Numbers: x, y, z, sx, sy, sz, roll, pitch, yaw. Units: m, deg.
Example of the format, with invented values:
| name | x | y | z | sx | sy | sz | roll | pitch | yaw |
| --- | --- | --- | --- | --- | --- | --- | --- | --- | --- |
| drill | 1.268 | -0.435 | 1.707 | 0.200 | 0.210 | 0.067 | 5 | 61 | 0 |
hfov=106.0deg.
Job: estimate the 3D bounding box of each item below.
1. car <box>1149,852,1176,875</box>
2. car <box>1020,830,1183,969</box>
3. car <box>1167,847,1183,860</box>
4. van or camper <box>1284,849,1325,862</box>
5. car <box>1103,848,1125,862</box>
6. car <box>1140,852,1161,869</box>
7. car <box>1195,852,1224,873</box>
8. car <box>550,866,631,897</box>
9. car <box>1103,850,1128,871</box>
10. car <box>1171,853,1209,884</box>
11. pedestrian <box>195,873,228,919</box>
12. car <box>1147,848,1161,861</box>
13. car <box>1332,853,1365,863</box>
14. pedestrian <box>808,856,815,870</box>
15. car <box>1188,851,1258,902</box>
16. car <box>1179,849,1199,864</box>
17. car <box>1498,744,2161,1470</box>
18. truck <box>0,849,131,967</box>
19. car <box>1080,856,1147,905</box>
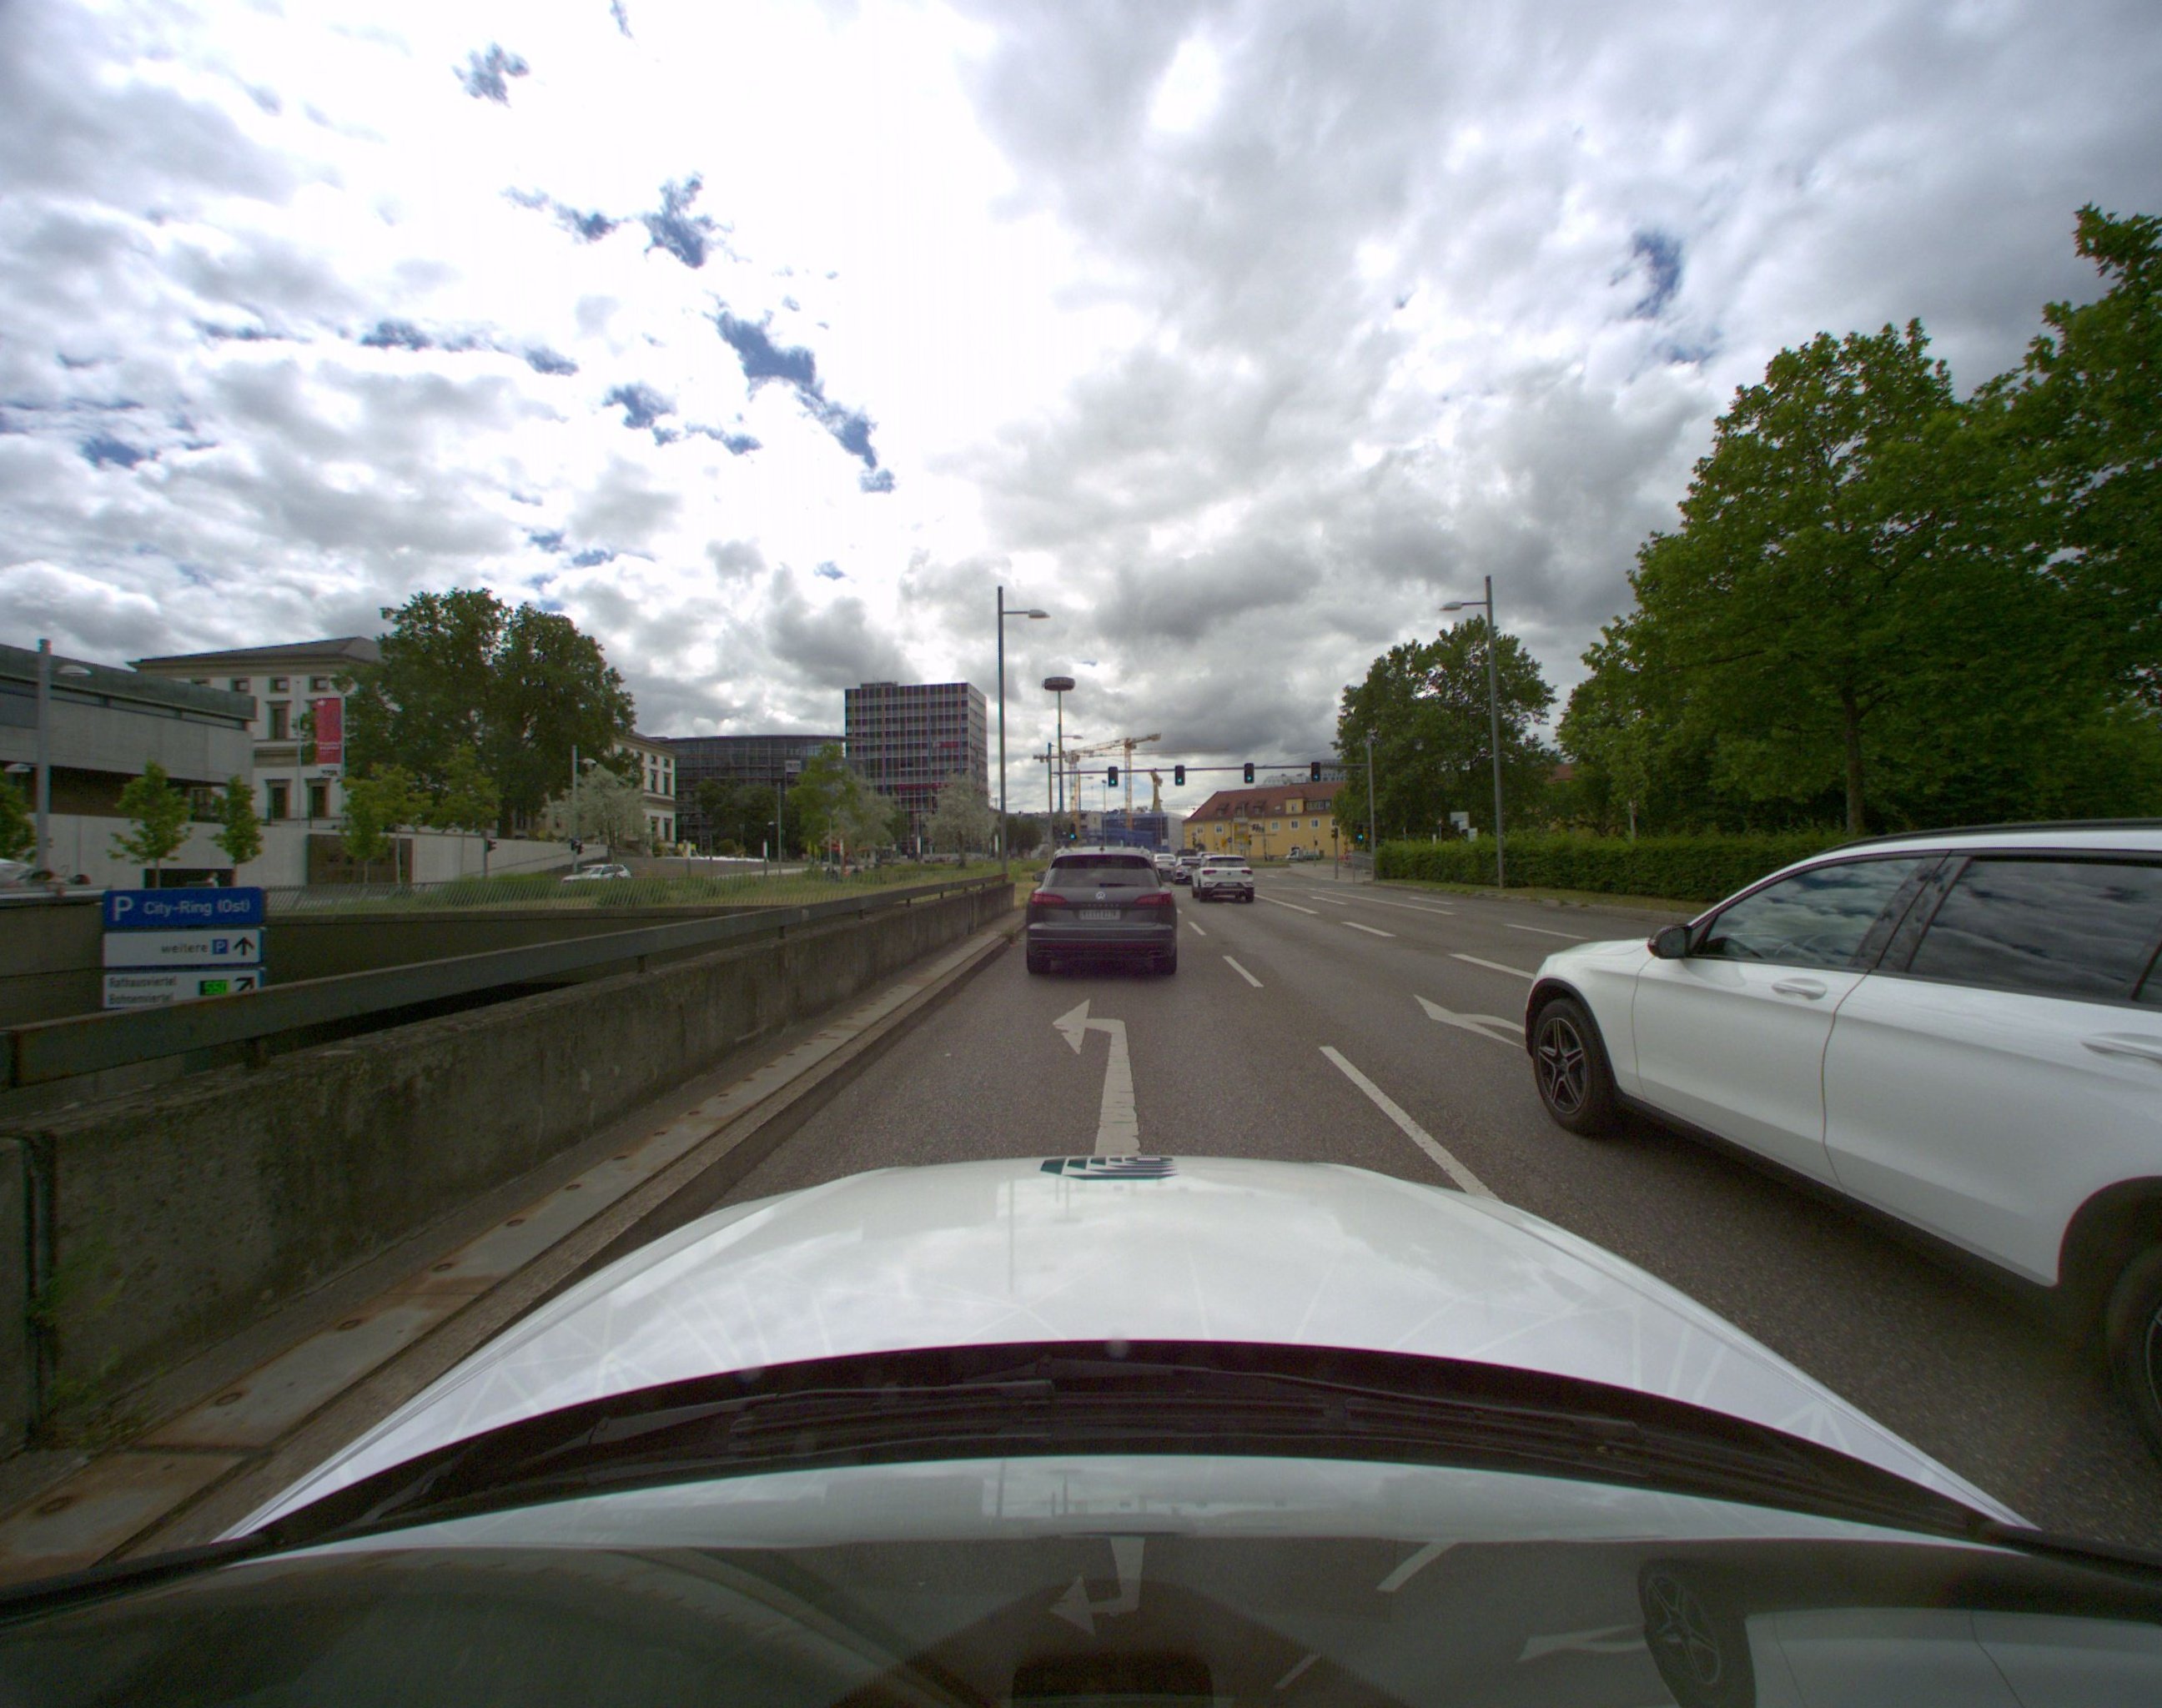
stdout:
| name | x | y | z | sx | sy | sz | roll | pitch | yaw |
| --- | --- | --- | --- | --- | --- | --- | --- | --- | --- |
| car | 5.622 | 0.646 | 55.892 | 1.710 | 1.502 | 3.988 | 0 | 0 | 7 |
| car | 0.331 | 0.533 | 11.727 | 1.925 | 1.647 | 4.003 | 0 | 0 | 2 |
| car | 11.146 | -0.066 | 96.562 | 1.711 | 1.502 | 3.985 | 0 | 0 | 4 |
| van or camper | 35.669 | 0.301 | 129.942 | 5.947 | 2.014 | 2.032 | -1 | -1 | 38 |
| car | 3.484 | 0.104 | 86.658 | 2.237 | 1.502 | 4.611 | 0 | 0 | 0 |
| car | 7.529 | 0.700 | 88.390 | 2.130 | 1.728 | 4.074 | -1 | 0 | 4 |
| car | 9.689 | 0.598 | 61.476 | 1.795 | 1.502 | 3.985 | 0 | 0 | 4 |
| car | -28.723 | 1.557 | 47.839 | 1.711 | 1.574 | 4.617 | -1 | 1 | 4 |
| car | 2.628 | 0.490 | 61.423 | 1.807 | 1.496 | 3.909 | 0 | 0 | 2 |
| car | 5.611 | 0.703 | 42.323 | 1.711 | 1.502 | 4.148 | 0 | 0 | 4 |
| pedestrian | -33.540 | 1.598 | 31.427 | 0.538 | 1.733 | 0.664 | 0 | 0 | 2 |
| car | 11.557 | 0.022 | 129.716 | 1.986 | 2.013 | 4.003 | -1 | 0 | 2 |
| car | 41.304 | 0.631 | 125.773 | 4.632 | 1.420 | 1.607 | -1 | -1 | 34 |
| pedestrian | -32.655 | 1.070 | 98.722 | 0.522 | 1.649 | 0.651 | 0 | -1 | 1 |
| car | 4.776 | 0.707 | 27.793 | 1.886 | 1.585 | 3.803 | 0 | 0 | 3 |
| car | 10.647 | 0.241 | 80.485 | 1.711 | 1.502 | 3.985 | 0 | 0 | 4 |
| car | 3.431 | 0.562 | 2.974 | 1.811 | 1.647 | 4.383 | 0 | 0 | 4 |
| truck | -27.213 | 1.332 | 18.574 | 2.453 | 2.816 | 7.086 | -1 | 1 | 4 |
| car | 1.063 | 0.794 | 26.340 | 1.986 | 1.387 | 4.003 | -1 | 1 | 2 |
